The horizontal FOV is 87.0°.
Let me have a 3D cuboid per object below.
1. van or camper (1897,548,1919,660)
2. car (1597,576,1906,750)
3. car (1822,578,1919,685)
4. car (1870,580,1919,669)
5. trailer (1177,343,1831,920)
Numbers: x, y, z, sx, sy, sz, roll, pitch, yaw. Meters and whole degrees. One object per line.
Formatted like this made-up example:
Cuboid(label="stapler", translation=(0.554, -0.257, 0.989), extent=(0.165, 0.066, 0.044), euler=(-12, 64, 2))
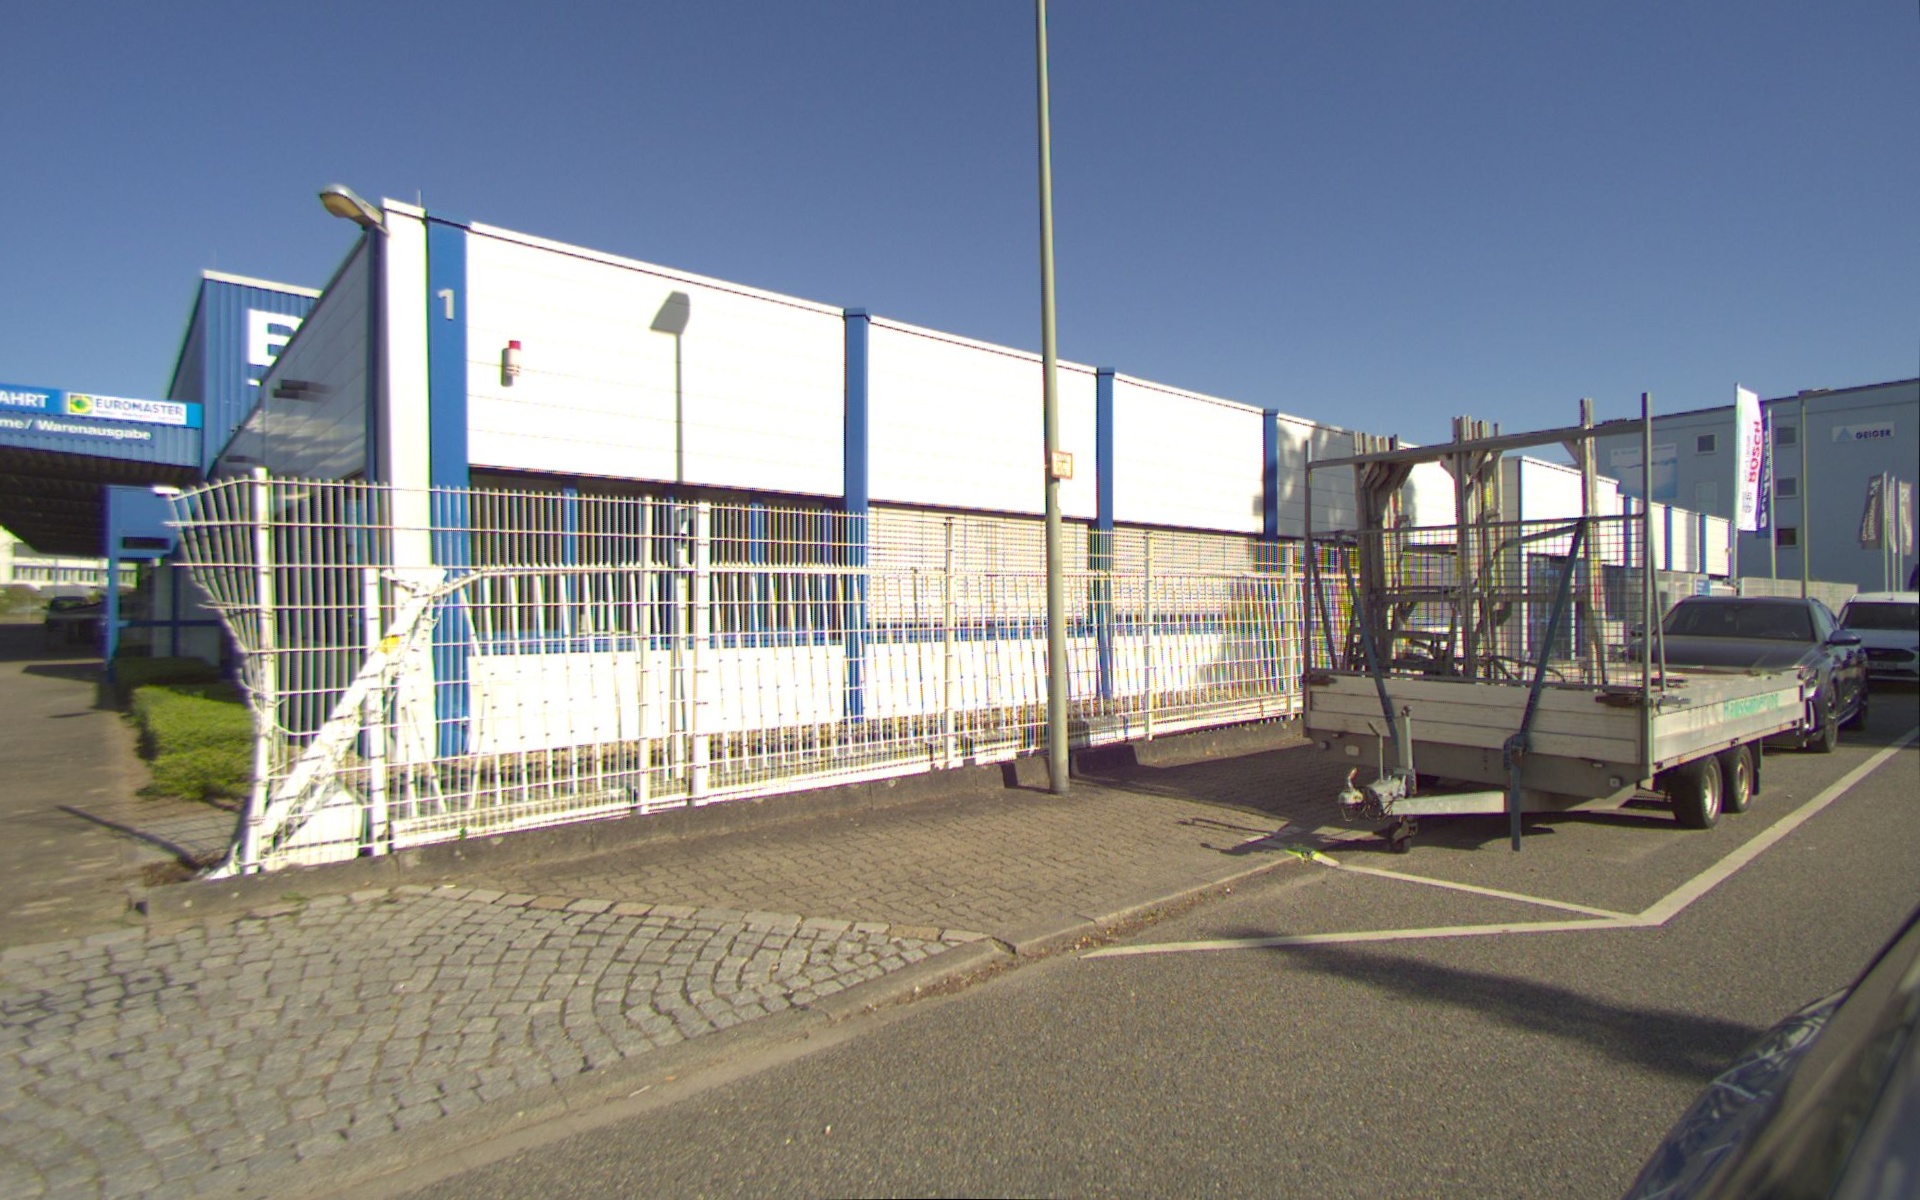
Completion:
Cuboid(label="van or camper", translation=(26.720, 0.043, 26.734), extent=(6.053, 2.795, 2.144), euler=(-1, -1, -41))
Cuboid(label="car", translation=(9.558, 0.608, 12.077), extent=(4.648, 1.689, 1.997), euler=(-1, -1, -41))
Cuboid(label="car", translation=(18.372, 0.523, 19.508), extent=(5.077, 1.854, 1.858), euler=(-1, -1, -41))
Cuboid(label="car", translation=(22.283, 0.487, 22.860), extent=(5.014, 1.870, 1.889), euler=(-1, -1, -41))
Cuboid(label="trailer", translation=(4.332, 0.127, 7.531), extent=(5.602, 2.706, 2.464), euler=(0, 0, -41))
